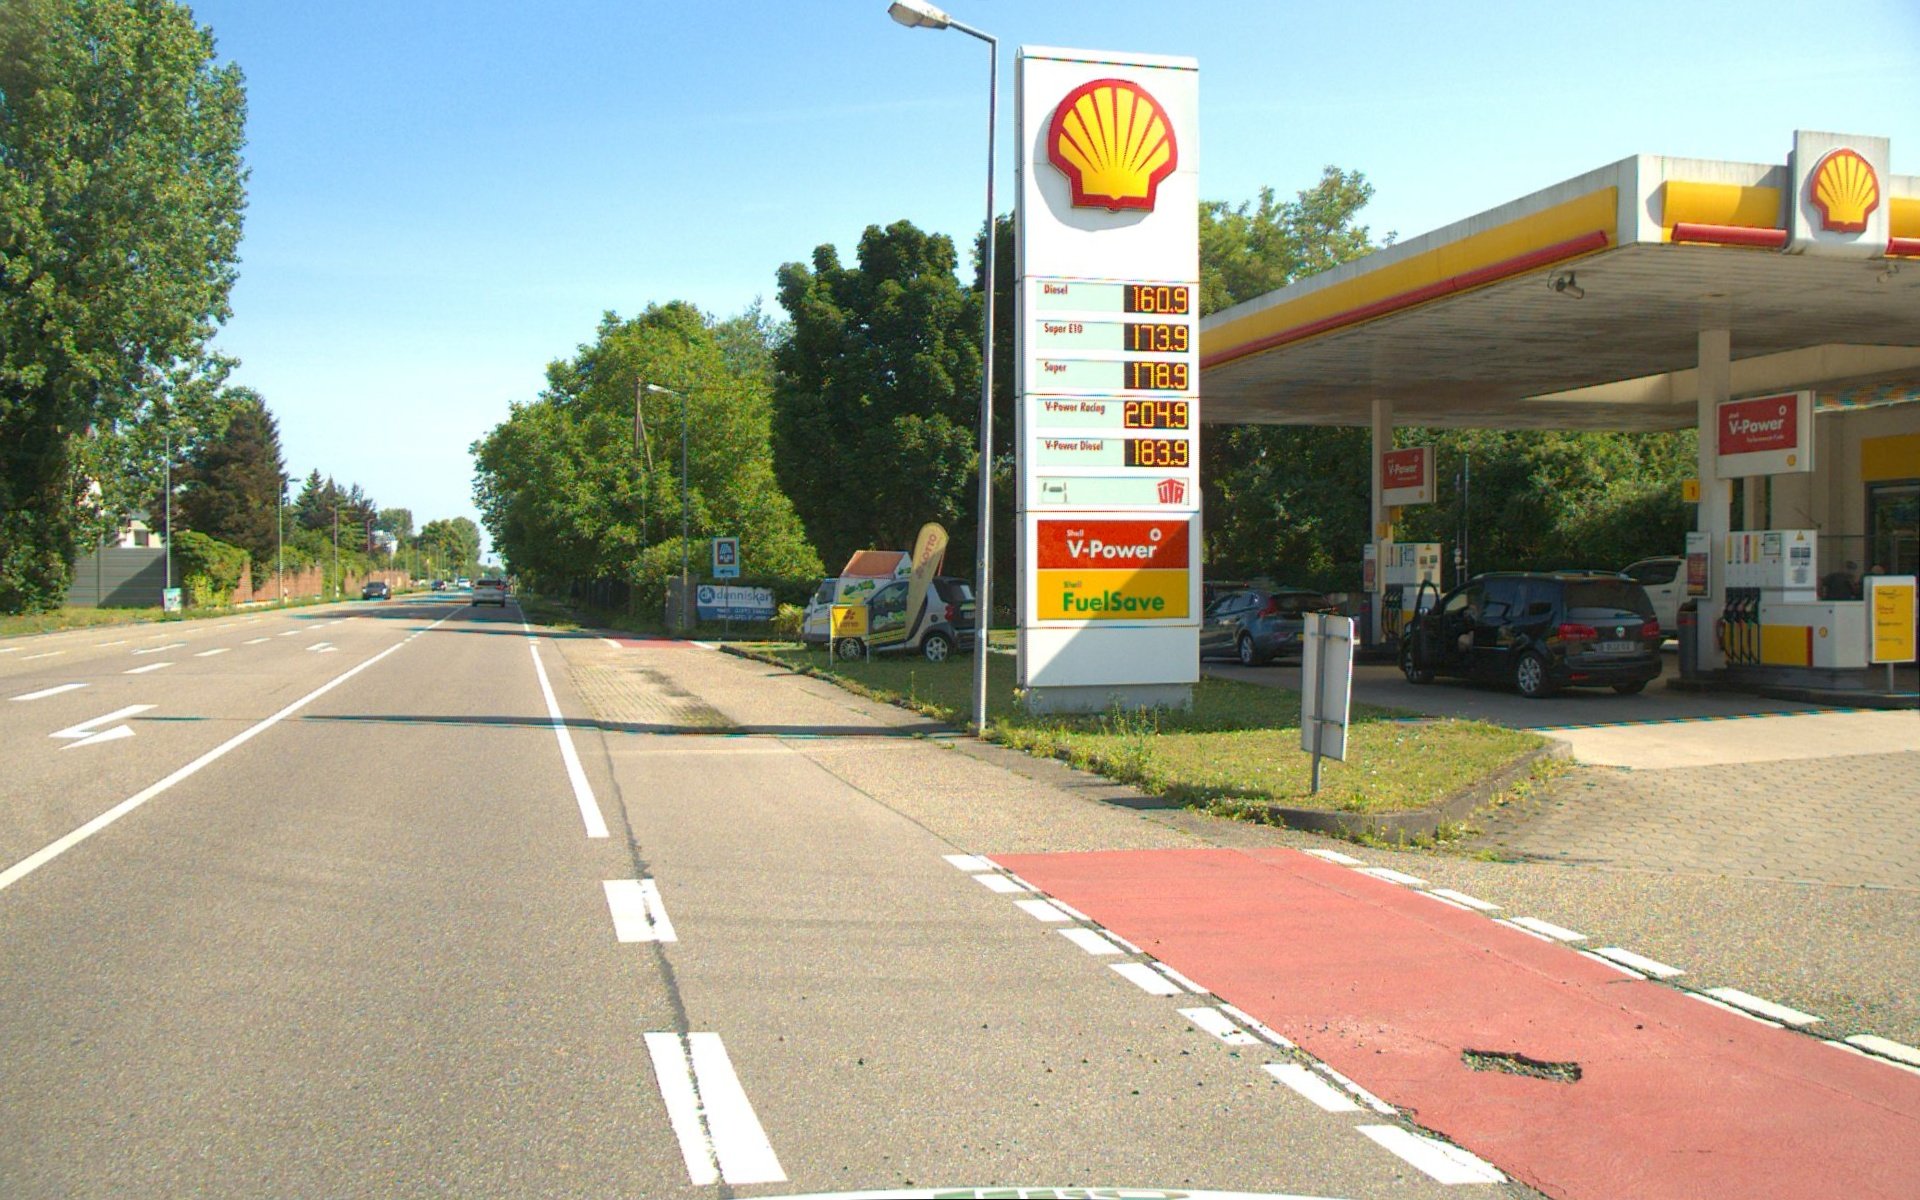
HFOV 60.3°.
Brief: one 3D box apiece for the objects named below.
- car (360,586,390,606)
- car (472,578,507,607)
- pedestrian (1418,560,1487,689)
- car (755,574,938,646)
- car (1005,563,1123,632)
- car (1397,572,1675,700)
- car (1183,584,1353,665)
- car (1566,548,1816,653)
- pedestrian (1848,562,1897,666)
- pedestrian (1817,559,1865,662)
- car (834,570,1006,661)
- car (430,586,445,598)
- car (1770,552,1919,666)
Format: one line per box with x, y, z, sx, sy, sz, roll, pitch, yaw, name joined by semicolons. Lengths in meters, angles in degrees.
-46.619;-0.299;131.891;1.816;1.522;4.892;-2;1;-15;car
-27.148;-0.425;95.484;1.816;1.568;4.208;1;0;-15;car
6.883;0.329;23.125;0.659;1.759;0.811;0;0;-7;pedestrian
-2.617;0.233;38.268;3.932;1.557;1.575;1;0;-23;car
2.846;-0.073;46.204;1.962;1.796;3.980;1;0;-18;car
7.840;0.430;22.905;1.731;1.606;3.860;-1;1;-17;car
5.642;0.399;30.760;1.766;1.384;3.836;-1;1;-12;car
14.032;-0.025;32.080;1.821;1.870;4.759;-1;1;-16;car
14.413;0.221;26.123;0.490;1.621;0.474;0;0;-12;pedestrian
14.365;0.171;26.971;0.490;1.660;0.474;0;0;-12;pedestrian
-0.720;0.280;29.697;2.670;1.557;1.575;0;-1;29;car
-74.375;-1.124;235.606;1.816;1.568;4.208;1;0;-15;car
15.355;0.129;26.967;1.795;1.758;3.989;-1;0;-11;car
